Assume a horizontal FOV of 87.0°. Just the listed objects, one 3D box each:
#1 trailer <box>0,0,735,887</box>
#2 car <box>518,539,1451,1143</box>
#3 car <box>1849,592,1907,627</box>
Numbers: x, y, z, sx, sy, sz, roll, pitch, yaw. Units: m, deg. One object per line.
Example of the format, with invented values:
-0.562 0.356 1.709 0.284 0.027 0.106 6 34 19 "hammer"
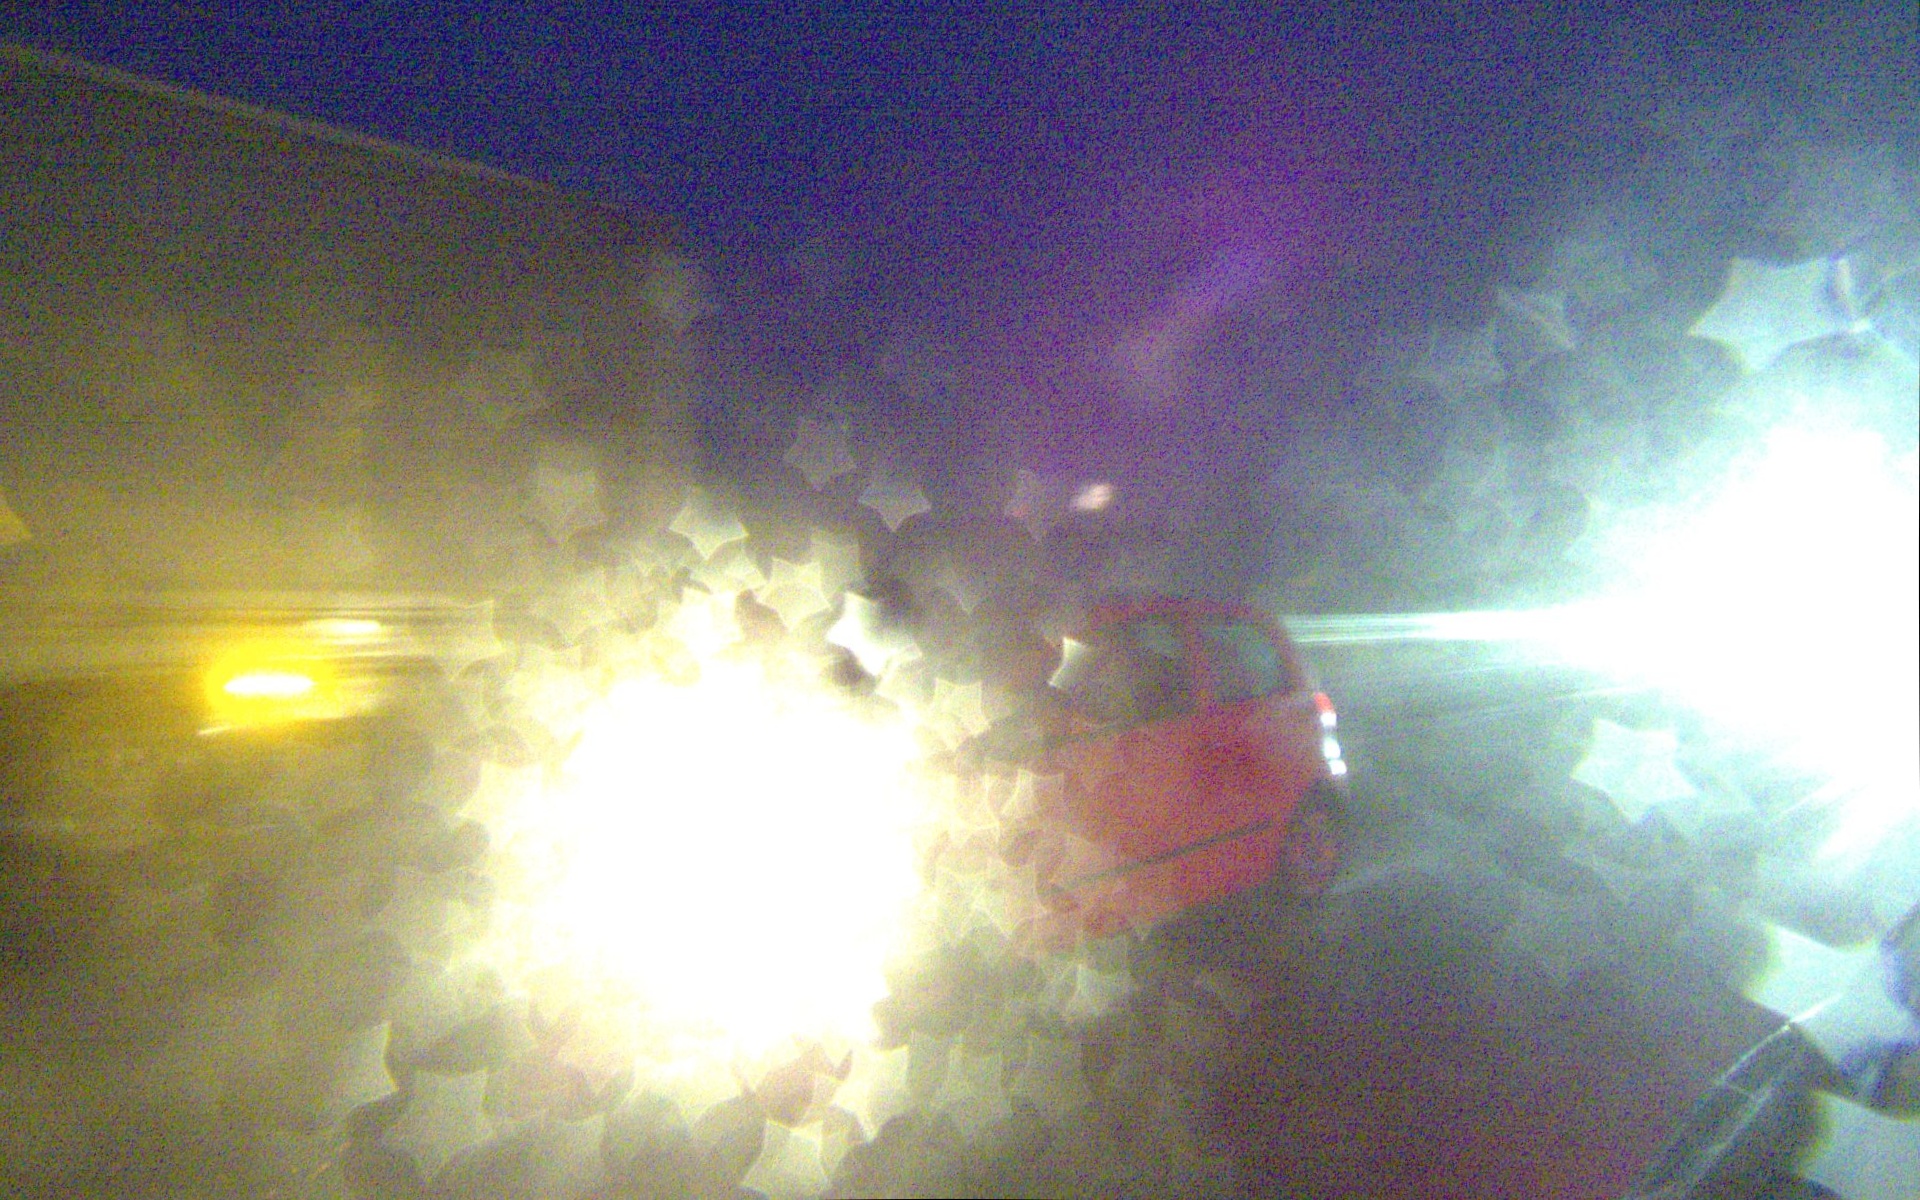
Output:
-7.829 -0.856 3.198 14.236 4.159 2.908 0 2 -42 "trailer"
0.480 0.600 4.787 4.416 1.595 1.743 -1 1 -41 "car"
41.618 0.412 45.860 3.946 1.522 1.641 1 1 -44 "car"
